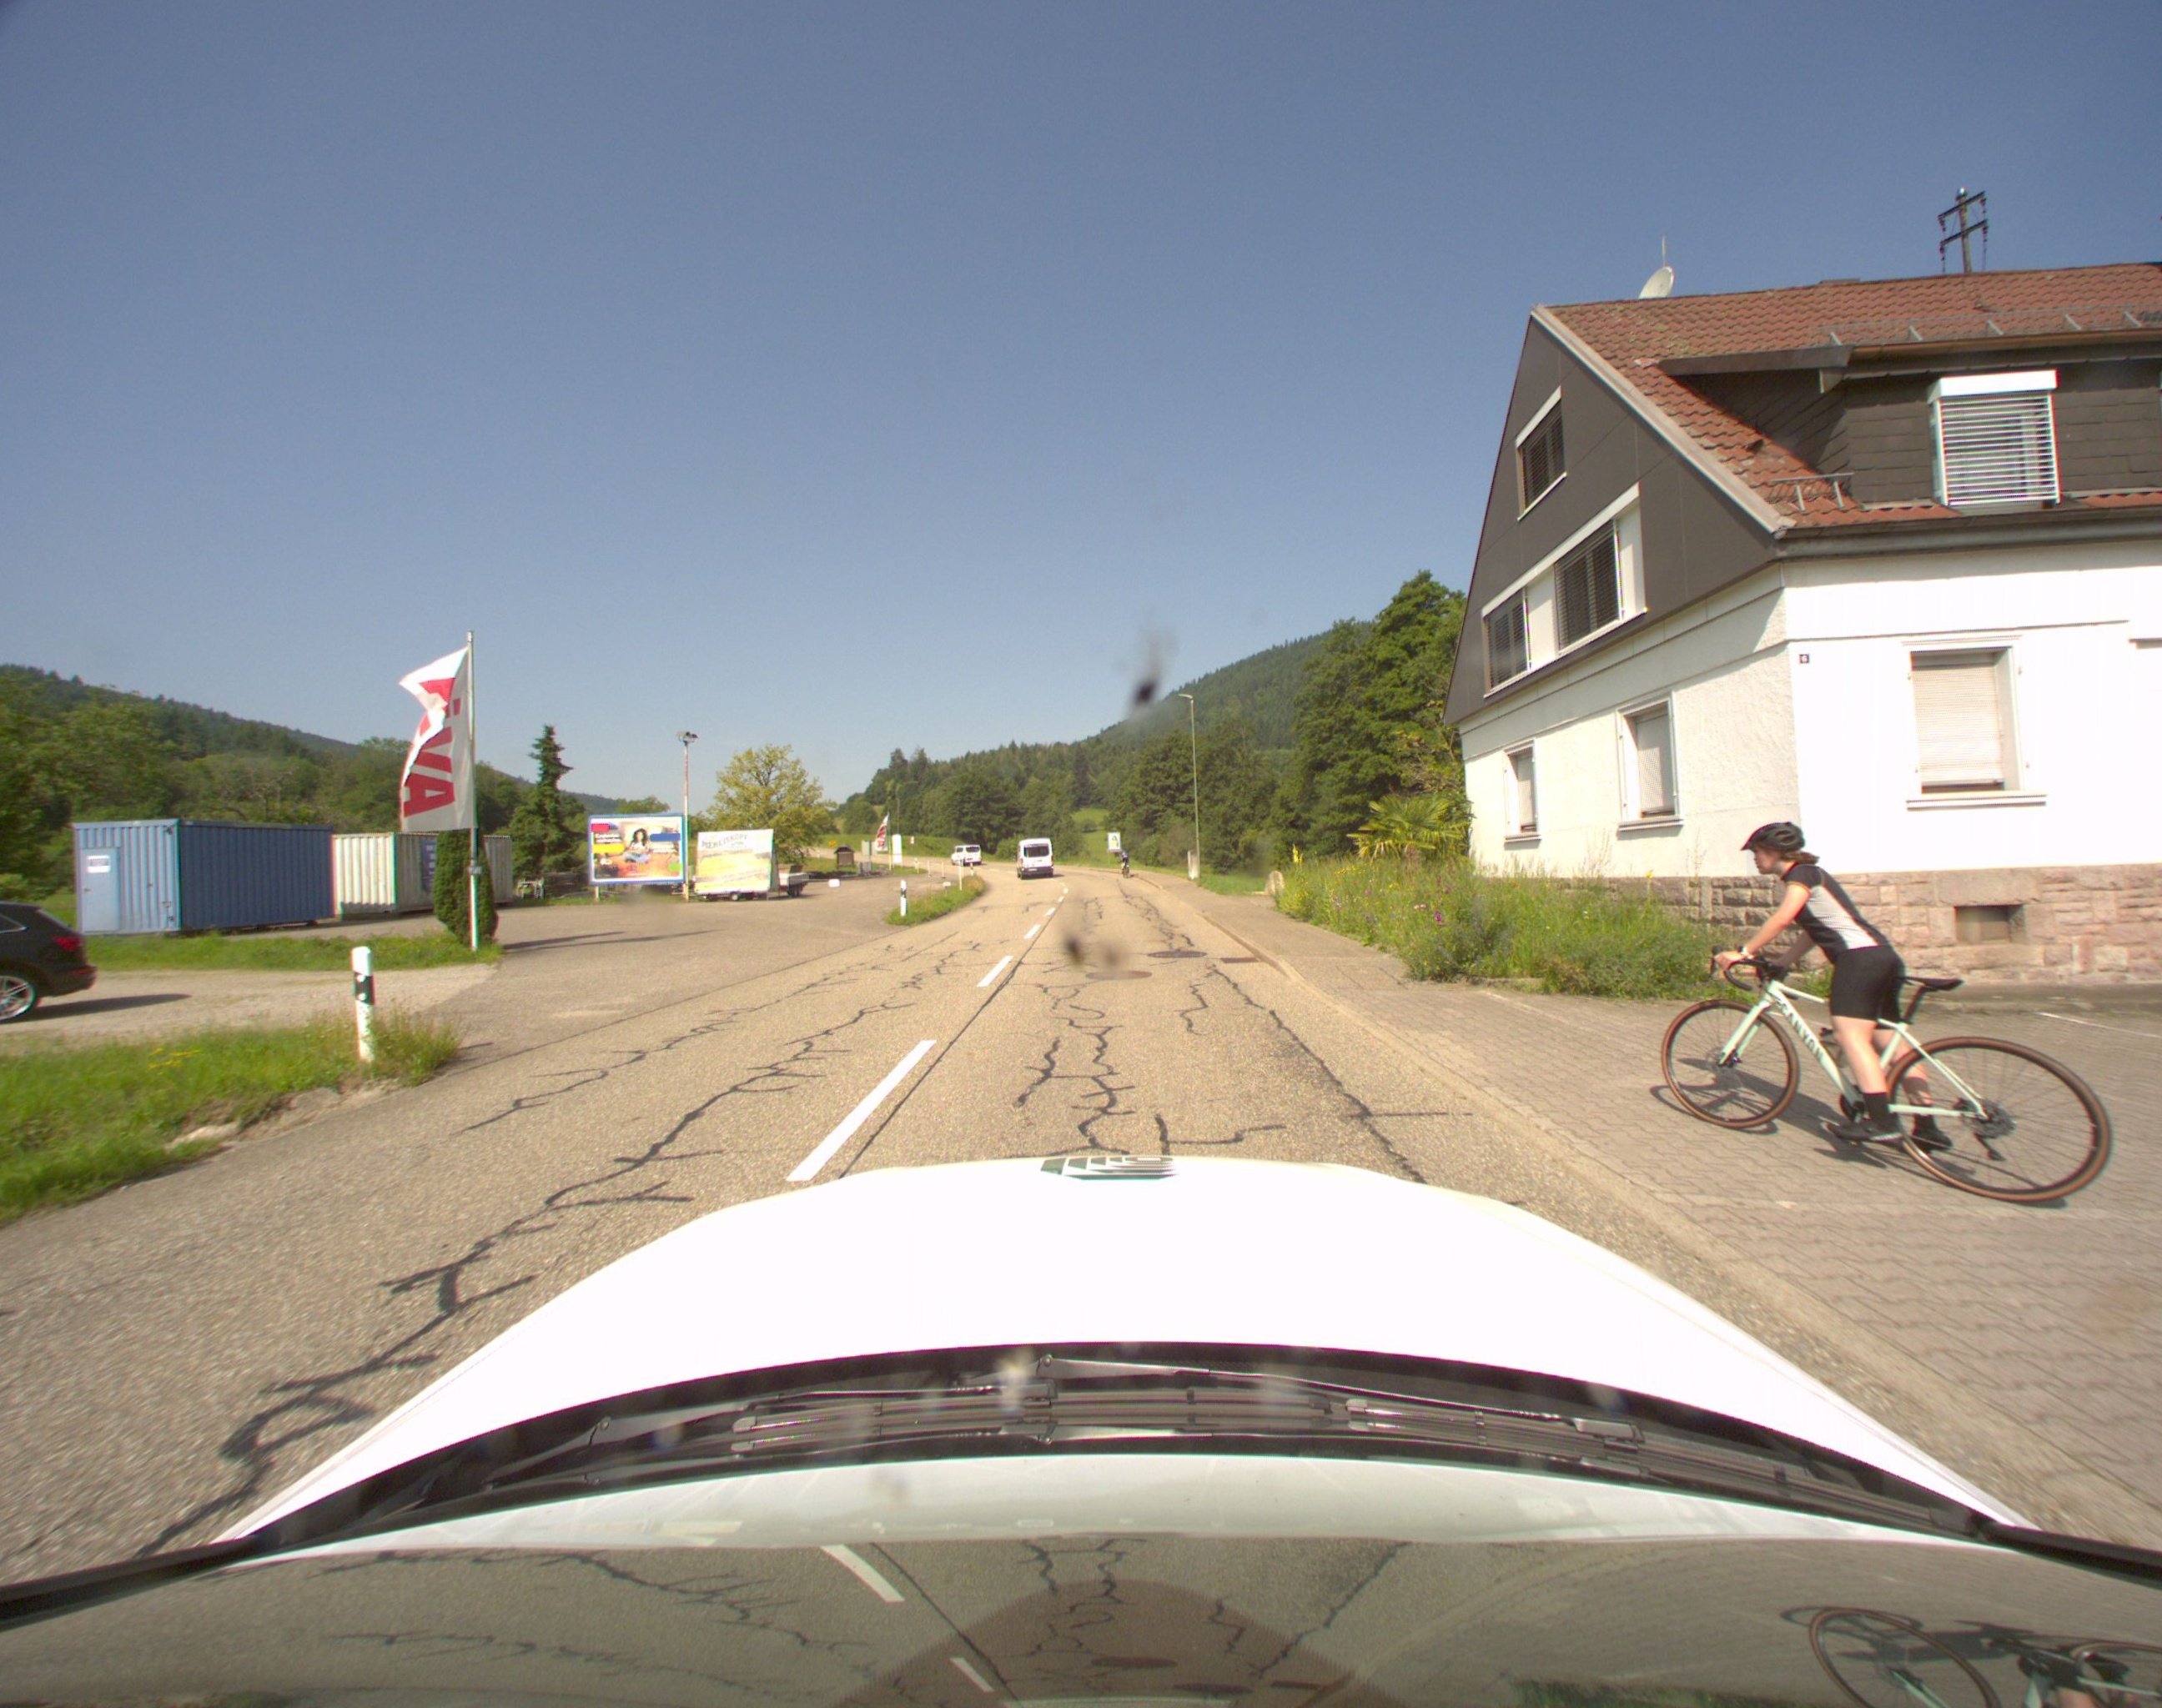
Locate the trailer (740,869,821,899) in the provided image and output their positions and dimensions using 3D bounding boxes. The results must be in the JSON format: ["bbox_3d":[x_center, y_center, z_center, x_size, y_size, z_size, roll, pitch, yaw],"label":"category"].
[{"bbox_3d":[-13.833,1.352,37.904,1.989,1.226,5.539,-1,-1,-3],"label":"trailer"}]

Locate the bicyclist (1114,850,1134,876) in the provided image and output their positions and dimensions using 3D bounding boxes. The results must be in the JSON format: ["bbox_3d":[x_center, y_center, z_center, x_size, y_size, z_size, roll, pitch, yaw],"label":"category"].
[{"bbox_3d":[2.315,0.485,43.708,0.581,1.342,1.138,-5,1,-17],"label":"bicyclist"}]

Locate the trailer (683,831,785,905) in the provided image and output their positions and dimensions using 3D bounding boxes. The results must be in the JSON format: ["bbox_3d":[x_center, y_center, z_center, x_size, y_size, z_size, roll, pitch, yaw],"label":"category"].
[{"bbox_3d":[-14.202,0.553,33.478,3.387,2.912,1.879,-1,-1,-6],"label":"trailer"}]

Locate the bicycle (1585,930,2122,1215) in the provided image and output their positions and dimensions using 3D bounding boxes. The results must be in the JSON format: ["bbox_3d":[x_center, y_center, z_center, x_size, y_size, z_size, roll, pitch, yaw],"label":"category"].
[{"bbox_3d":[3.844,0.978,4.301,0.692,0.918,1.933,0,1,-26],"label":"bicycle"}]

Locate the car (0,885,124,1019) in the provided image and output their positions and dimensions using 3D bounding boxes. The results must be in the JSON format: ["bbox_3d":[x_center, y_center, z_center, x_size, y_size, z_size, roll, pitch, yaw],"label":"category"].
[{"bbox_3d":[-15.113,1.300,9.428,1.813,1.649,4.938,-2,0,29],"label":"car"}]

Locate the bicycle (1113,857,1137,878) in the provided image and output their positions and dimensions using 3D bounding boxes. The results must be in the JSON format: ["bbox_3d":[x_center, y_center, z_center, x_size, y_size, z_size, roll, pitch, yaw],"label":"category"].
[{"bbox_3d":[2.350,0.713,43.700,0.581,1.035,1.979,-5,1,-17],"label":"bicycle"}]

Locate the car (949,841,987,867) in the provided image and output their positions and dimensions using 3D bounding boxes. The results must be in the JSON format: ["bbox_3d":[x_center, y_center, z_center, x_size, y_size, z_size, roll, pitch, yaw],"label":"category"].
[{"bbox_3d":[-11.206,0.006,80.382,2.233,2.286,4.944,-5,2,-24],"label":"car"}]

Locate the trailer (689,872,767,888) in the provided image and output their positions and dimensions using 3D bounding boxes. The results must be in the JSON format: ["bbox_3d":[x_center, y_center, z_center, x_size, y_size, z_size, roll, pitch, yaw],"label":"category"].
[{"bbox_3d":[-21.375,1.571,49.434,3.921,0.939,1.866,-1,-2,-2],"label":"trailer"}]

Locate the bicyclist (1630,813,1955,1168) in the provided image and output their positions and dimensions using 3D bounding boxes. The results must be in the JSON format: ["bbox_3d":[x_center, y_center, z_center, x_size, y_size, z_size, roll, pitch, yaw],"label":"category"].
[{"bbox_3d":[3.776,0.616,4.405,0.692,1.632,1.131,0,1,-26],"label":"bicyclist"}]

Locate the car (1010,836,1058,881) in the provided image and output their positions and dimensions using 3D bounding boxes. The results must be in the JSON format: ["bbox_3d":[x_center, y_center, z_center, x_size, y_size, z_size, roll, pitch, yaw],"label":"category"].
[{"bbox_3d":[-3.063,0.243,51.860,2.224,2.525,4.965,-5,2,-11],"label":"car"}]
